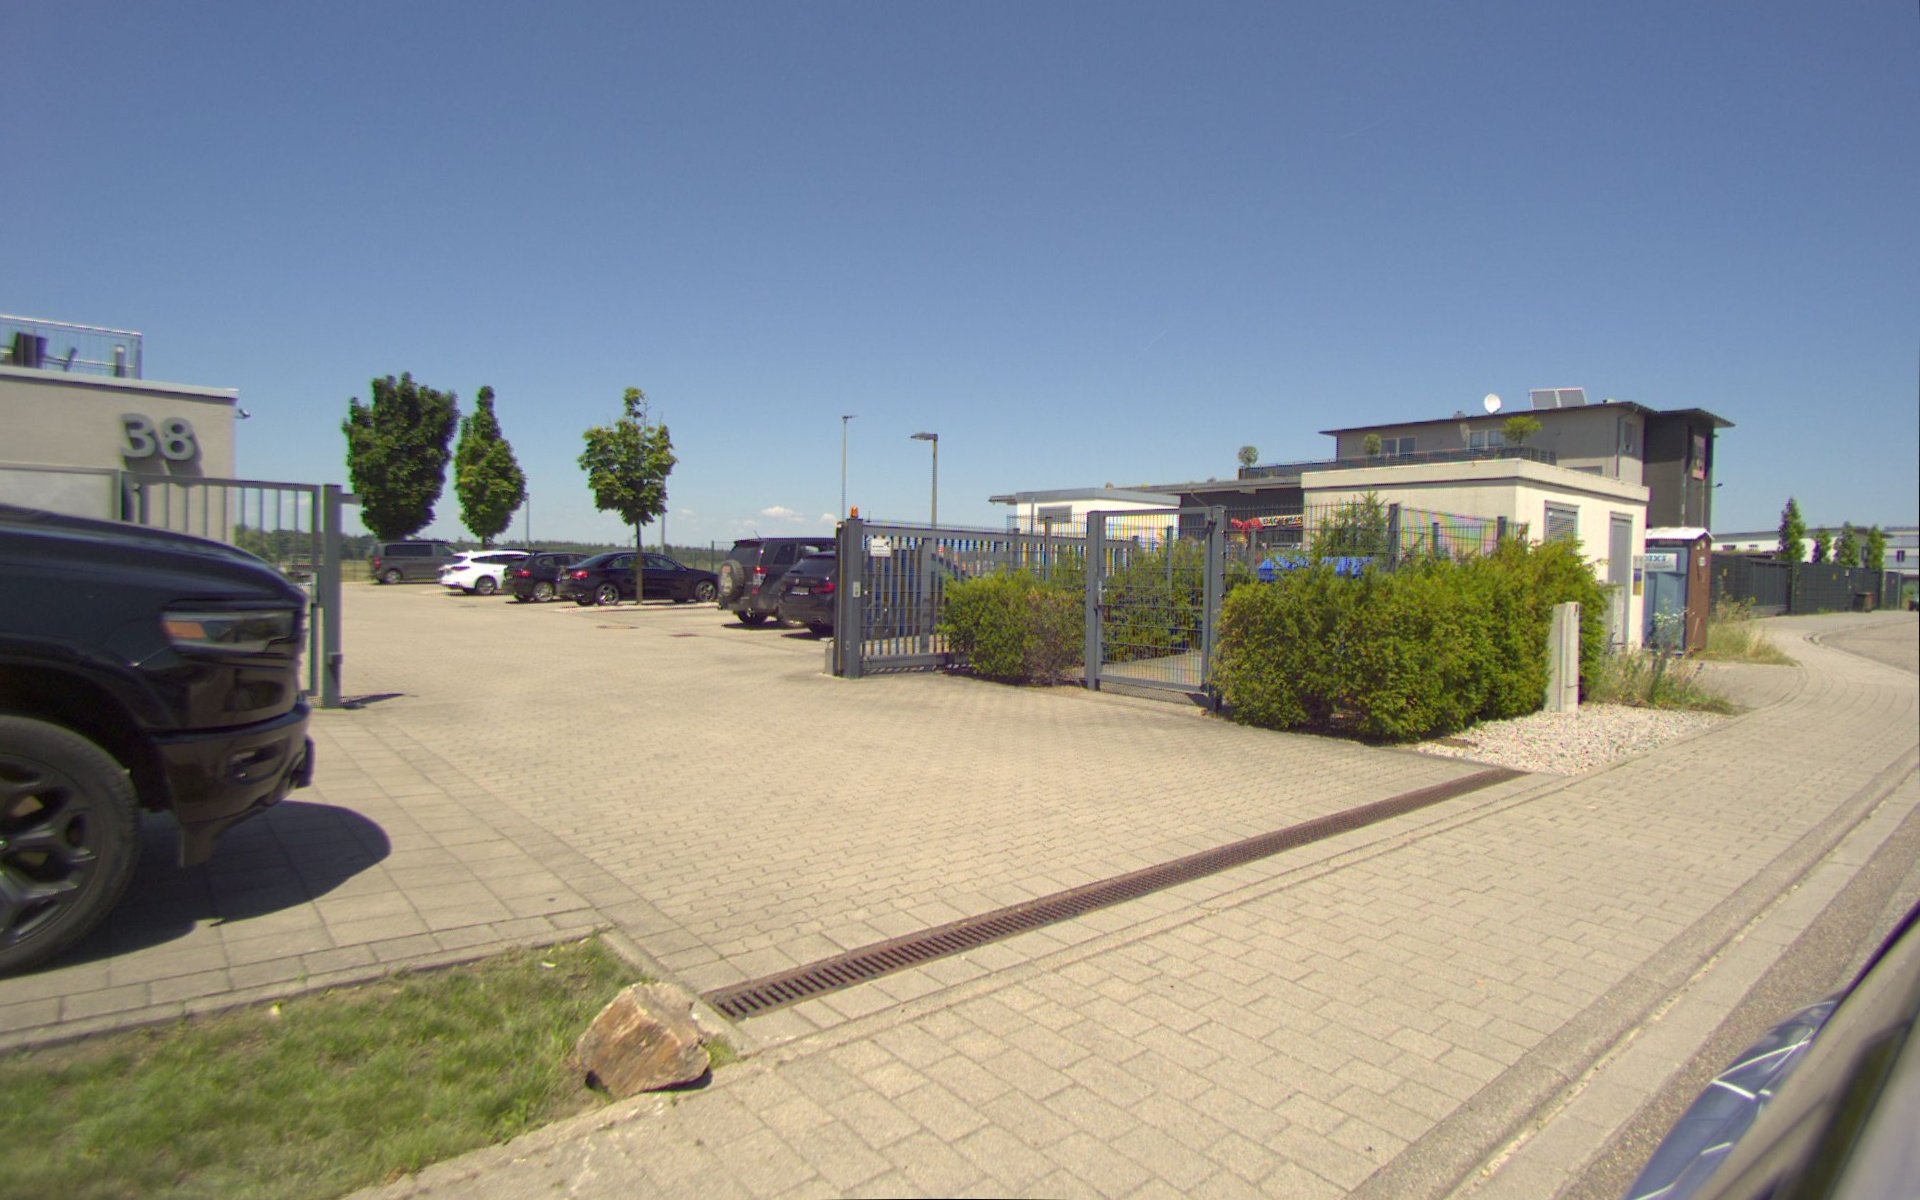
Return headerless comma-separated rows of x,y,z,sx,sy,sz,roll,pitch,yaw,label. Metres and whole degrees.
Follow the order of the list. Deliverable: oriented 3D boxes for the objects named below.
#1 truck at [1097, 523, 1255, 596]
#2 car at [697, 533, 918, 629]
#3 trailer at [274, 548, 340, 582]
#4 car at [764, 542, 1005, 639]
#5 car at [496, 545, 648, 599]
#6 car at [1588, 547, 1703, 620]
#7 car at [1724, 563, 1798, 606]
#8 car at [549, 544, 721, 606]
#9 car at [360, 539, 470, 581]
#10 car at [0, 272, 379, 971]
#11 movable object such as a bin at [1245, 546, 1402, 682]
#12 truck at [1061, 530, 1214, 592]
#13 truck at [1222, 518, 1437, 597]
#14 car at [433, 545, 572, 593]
9.631,-1.821,45.827,2.452,3.059,7.025,0,2,-39,truck
-2.940,-0.456,19.964,3.931,1.698,1.859,-3,4,-41,car
-27.995,-1.523,43.340,1.964,1.371,3.997,0,2,-39,trailer
-1.263,-0.262,17.844,3.931,1.507,1.859,-3,4,-41,car
-11.798,-0.893,30.888,3.931,1.523,1.859,-3,4,-41,car
22.238,-0.541,32.762,4.696,2.188,1.918,-1,2,-41,car
35.895,-0.714,45.343,3.931,1.816,1.927,-1,3,-42,car
-8.585,-0.718,26.880,3.931,1.523,1.859,-3,4,-41,car
-24.723,-1.852,45.973,4.115,1.822,1.859,-3,4,-41,car
-4.867,-0.034,2.412,5.699,2.039,1.997,2,1,-42,car
4.446,0.129,12.404,1.150,1.541,1.386,0,2,-41,movable object such as a bin
9.317,-2.055,54.150,2.642,3.059,8.353,0,2,-39,truck
16.327,-1.871,45.466,2.642,3.216,8.964,0,2,-39,truck
-15.561,-1.091,34.524,3.931,1.523,1.859,-3,4,-41,car
